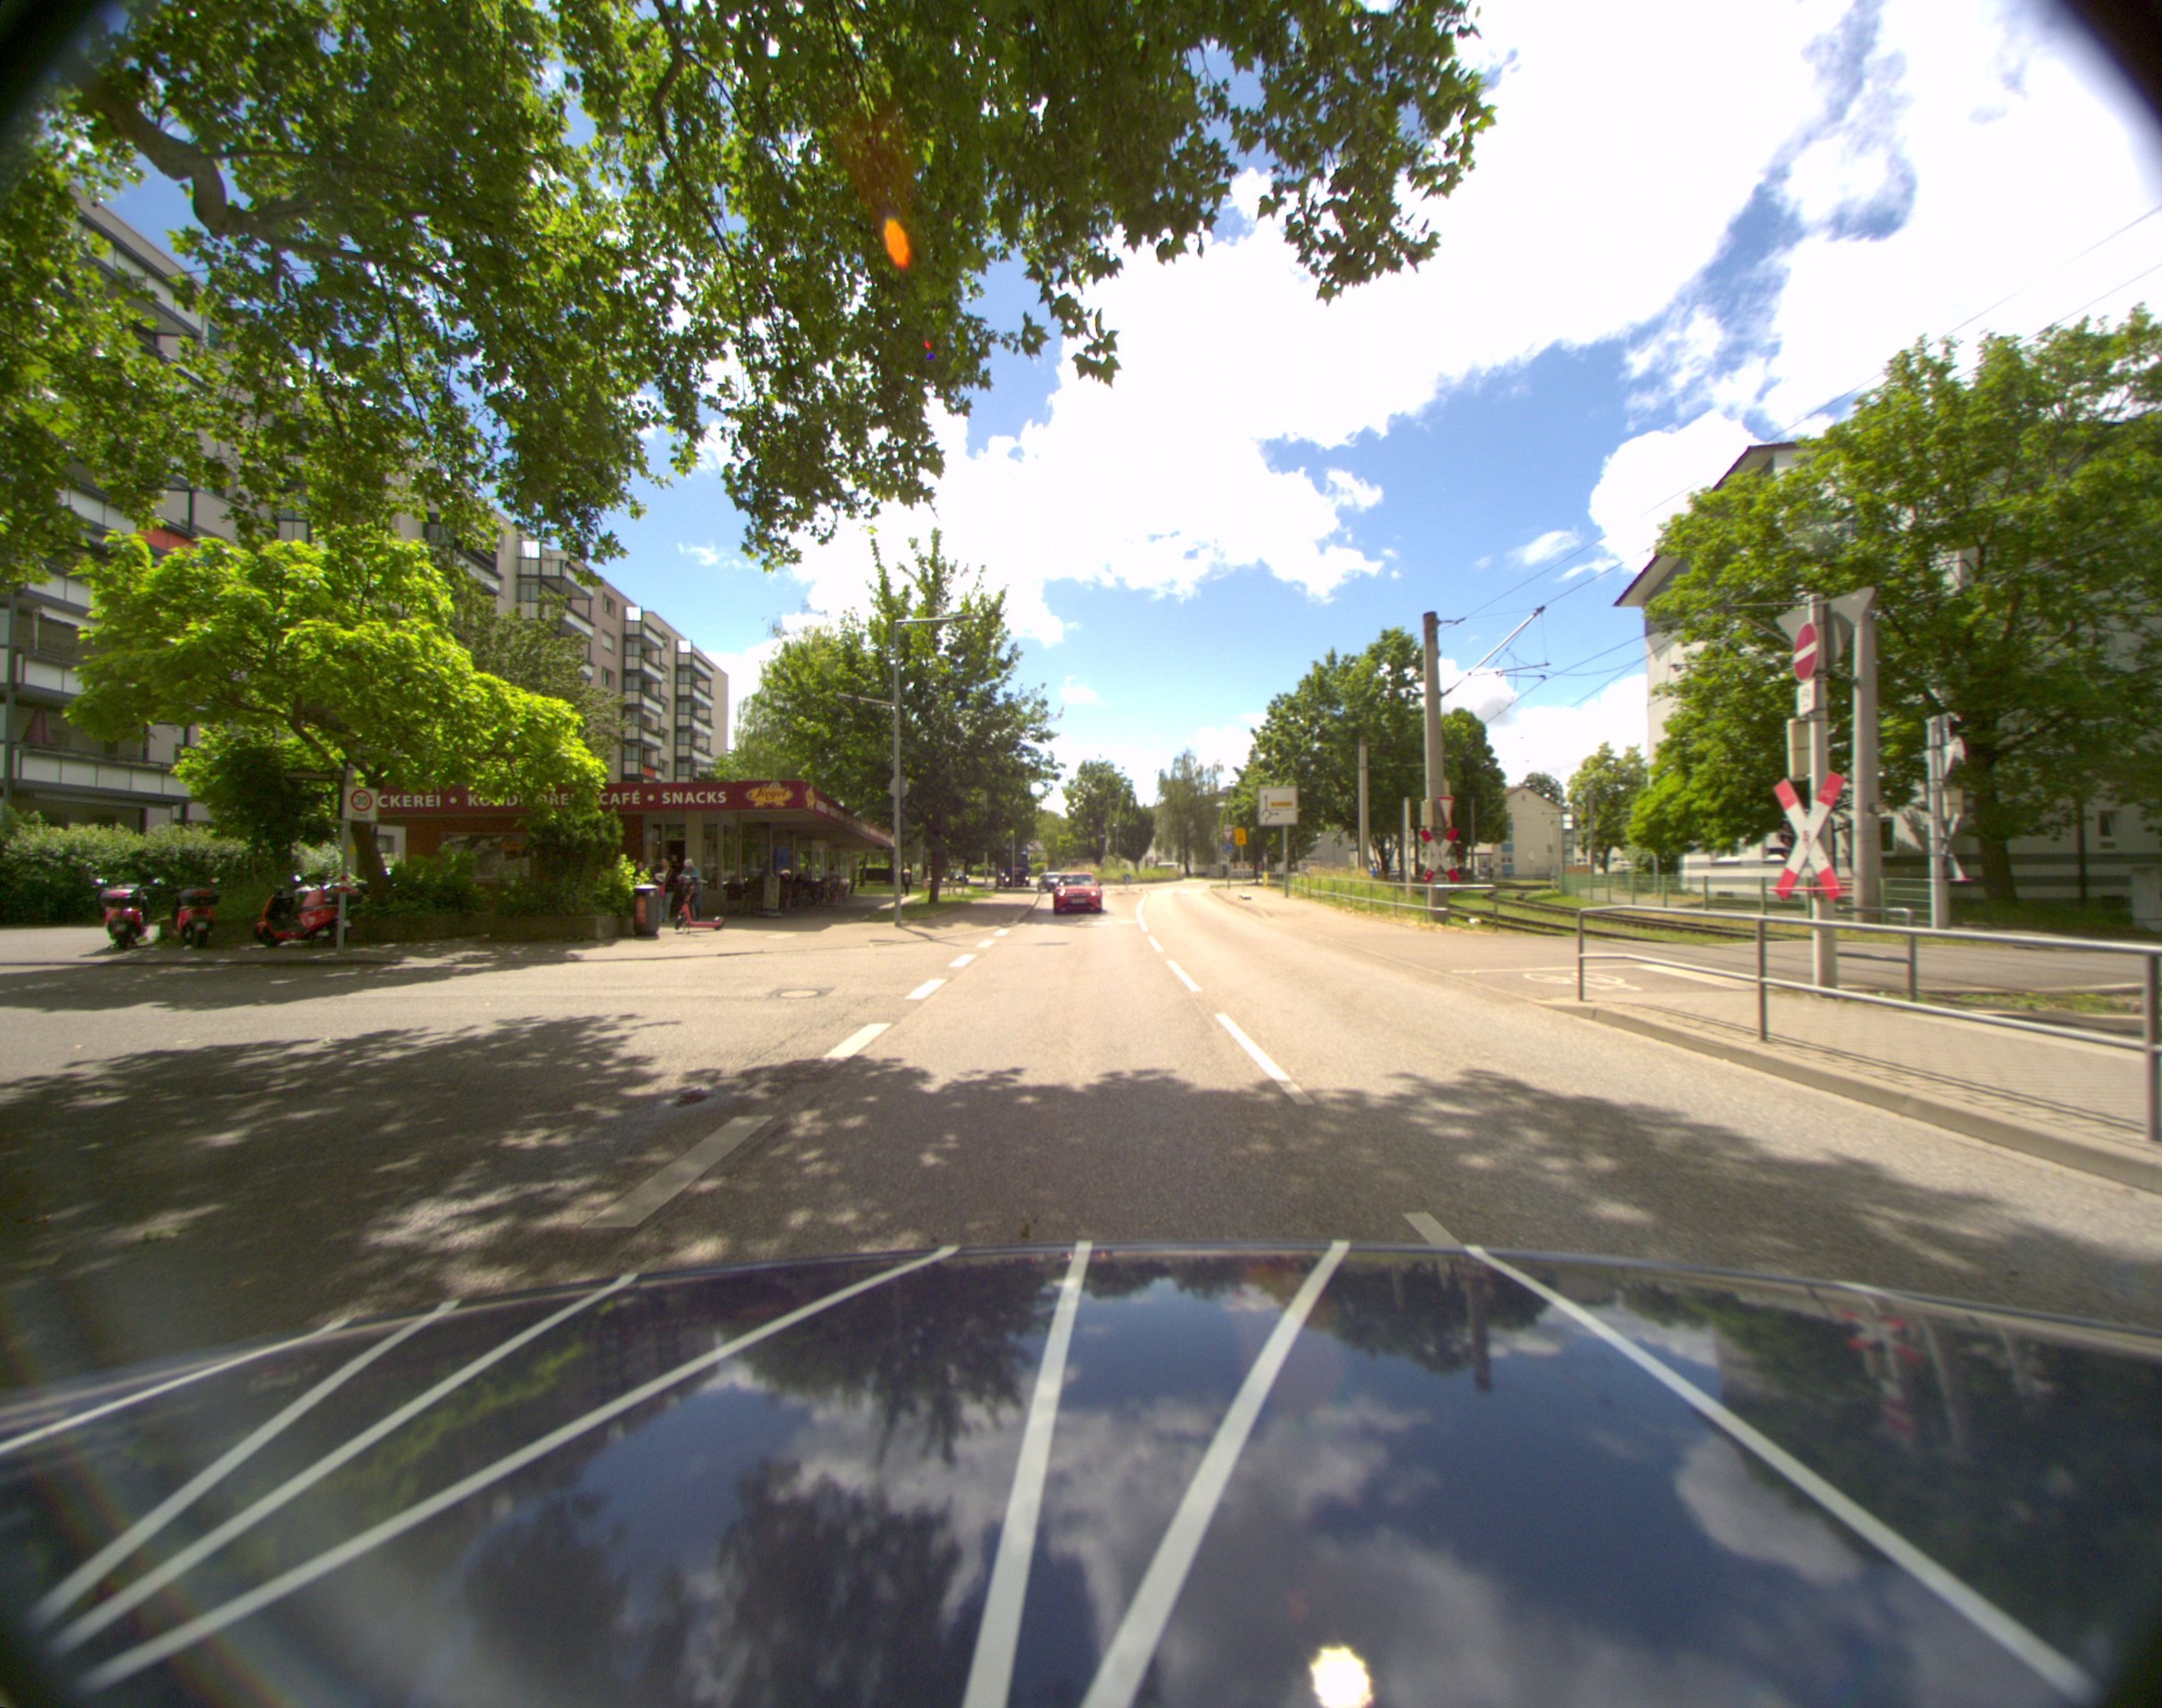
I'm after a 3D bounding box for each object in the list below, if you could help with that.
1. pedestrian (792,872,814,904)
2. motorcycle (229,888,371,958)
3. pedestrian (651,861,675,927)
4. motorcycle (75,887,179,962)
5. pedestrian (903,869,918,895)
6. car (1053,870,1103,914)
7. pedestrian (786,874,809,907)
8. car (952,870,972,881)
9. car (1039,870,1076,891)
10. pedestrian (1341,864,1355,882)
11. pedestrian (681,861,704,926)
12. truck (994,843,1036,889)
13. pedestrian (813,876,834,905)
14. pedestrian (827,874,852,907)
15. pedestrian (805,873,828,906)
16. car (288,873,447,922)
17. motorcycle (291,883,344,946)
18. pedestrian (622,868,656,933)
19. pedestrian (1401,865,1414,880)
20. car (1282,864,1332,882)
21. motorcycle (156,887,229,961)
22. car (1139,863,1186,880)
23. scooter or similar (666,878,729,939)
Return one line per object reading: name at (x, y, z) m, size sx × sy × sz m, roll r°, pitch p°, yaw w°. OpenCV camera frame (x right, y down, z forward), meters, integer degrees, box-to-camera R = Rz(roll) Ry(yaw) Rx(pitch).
pedestrian at (-11.325, 1.385, 30.995) m, size 0.674 × 1.259 × 0.677 m, roll 2°, pitch 0°, yaw -8°
motorcycle at (-14.135, 1.230, 13.768) m, size 2.135 × 1.188 × 0.741 m, roll 0°, pitch -1°, yaw 10°
pedestrian at (-10.463, 0.979, 19.004) m, size 0.444 × 1.622 × 0.399 m, roll 0°, pitch 0°, yaw -40°
motorcycle at (-17.382, 1.232, 13.899) m, size 0.741 × 1.188 × 2.132 m, roll 0°, pitch 0°, yaw -39°
pedestrian at (-10.085, 1.663, 44.988) m, size 0.726 × 1.529 × 0.654 m, roll 0°, pitch 0°, yaw -3°
car at (-0.113, 1.373, 28.448) m, size 1.712 × 1.438 × 3.670 m, roll -2°, pitch -1°, yaw 0°
pedestrian at (-11.074, 1.418, 29.691) m, size 0.677 × 1.259 × 0.674 m, roll 2°, pitch 0°, yaw -6°
car at (-15.022, 2.654, 96.076) m, size 1.811 × 1.346 × 3.994 m, roll 0°, pitch -1°, yaw -19°
car at (-1.782, 1.947, 56.434) m, size 1.763 × 1.514 × 3.819 m, roll 0°, pitch -1°, yaw -19°
pedestrian at (24.933, 1.763, 70.964) m, size 0.876 × 1.654 × 1.021 m, roll 0°, pitch 0°, yaw -13°
pedestrian at (-9.880, 0.993, 19.307) m, size 0.444 × 1.622 × 0.399 m, roll 0°, pitch 0°, yaw -40°
truck at (-6.411, 1.161, 72.269) m, size 2.632 × 4.068 × 9.599 m, roll 0°, pitch -1°, yaw -13°
pedestrian at (-10.549, 1.474, 31.088) m, size 0.674 × 1.145 × 0.677 m, roll 2°, pitch 0°, yaw -8°
pedestrian at (-9.631, 1.442, 30.309) m, size 0.677 × 1.259 × 0.674 m, roll 2°, pitch 0°, yaw 5°
pedestrian at (-10.313, 1.387, 29.672) m, size 0.674 × 1.259 × 0.826 m, roll 2°, pitch -1°, yaw -8°
car at (-21.481, 1.265, 23.079) m, size 1.749 × 1.334 × 3.488 m, roll -1°, pitch -1°, yaw -6°
motorcycle at (-15.860, 1.221, 15.805) m, size 0.741 × 1.188 × 2.132 m, roll 0°, pitch -1°, yaw -45°
pedestrian at (-10.866, 1.128, 18.685) m, size 0.510 × 1.542 × 0.534 m, roll -1°, pitch 0°, yaw 32°
pedestrian at (36.677, 2.102, 85.390) m, size 1.022 × 1.654 × 0.875 m, roll 0°, pitch 0°, yaw -5°
car at (23.702, 1.967, 79.744) m, size 4.617 × 1.786 × 1.999 m, roll 0°, pitch -1°, yaw -6°
motorcycle at (-16.146, 1.224, 13.842) m, size 2.132 × 1.188 × 0.741 m, roll -1°, pitch -1°, yaw 44°
car at (8.580, 1.858, 79.976) m, size 4.609 × 1.786 × 2.003 m, roll -1°, pitch -1°, yaw 18°
scooter or similar at (-8.622, 1.192, 17.103) m, size 0.376 × 1.300 × 1.234 m, roll -1°, pitch -1°, yaw 33°
